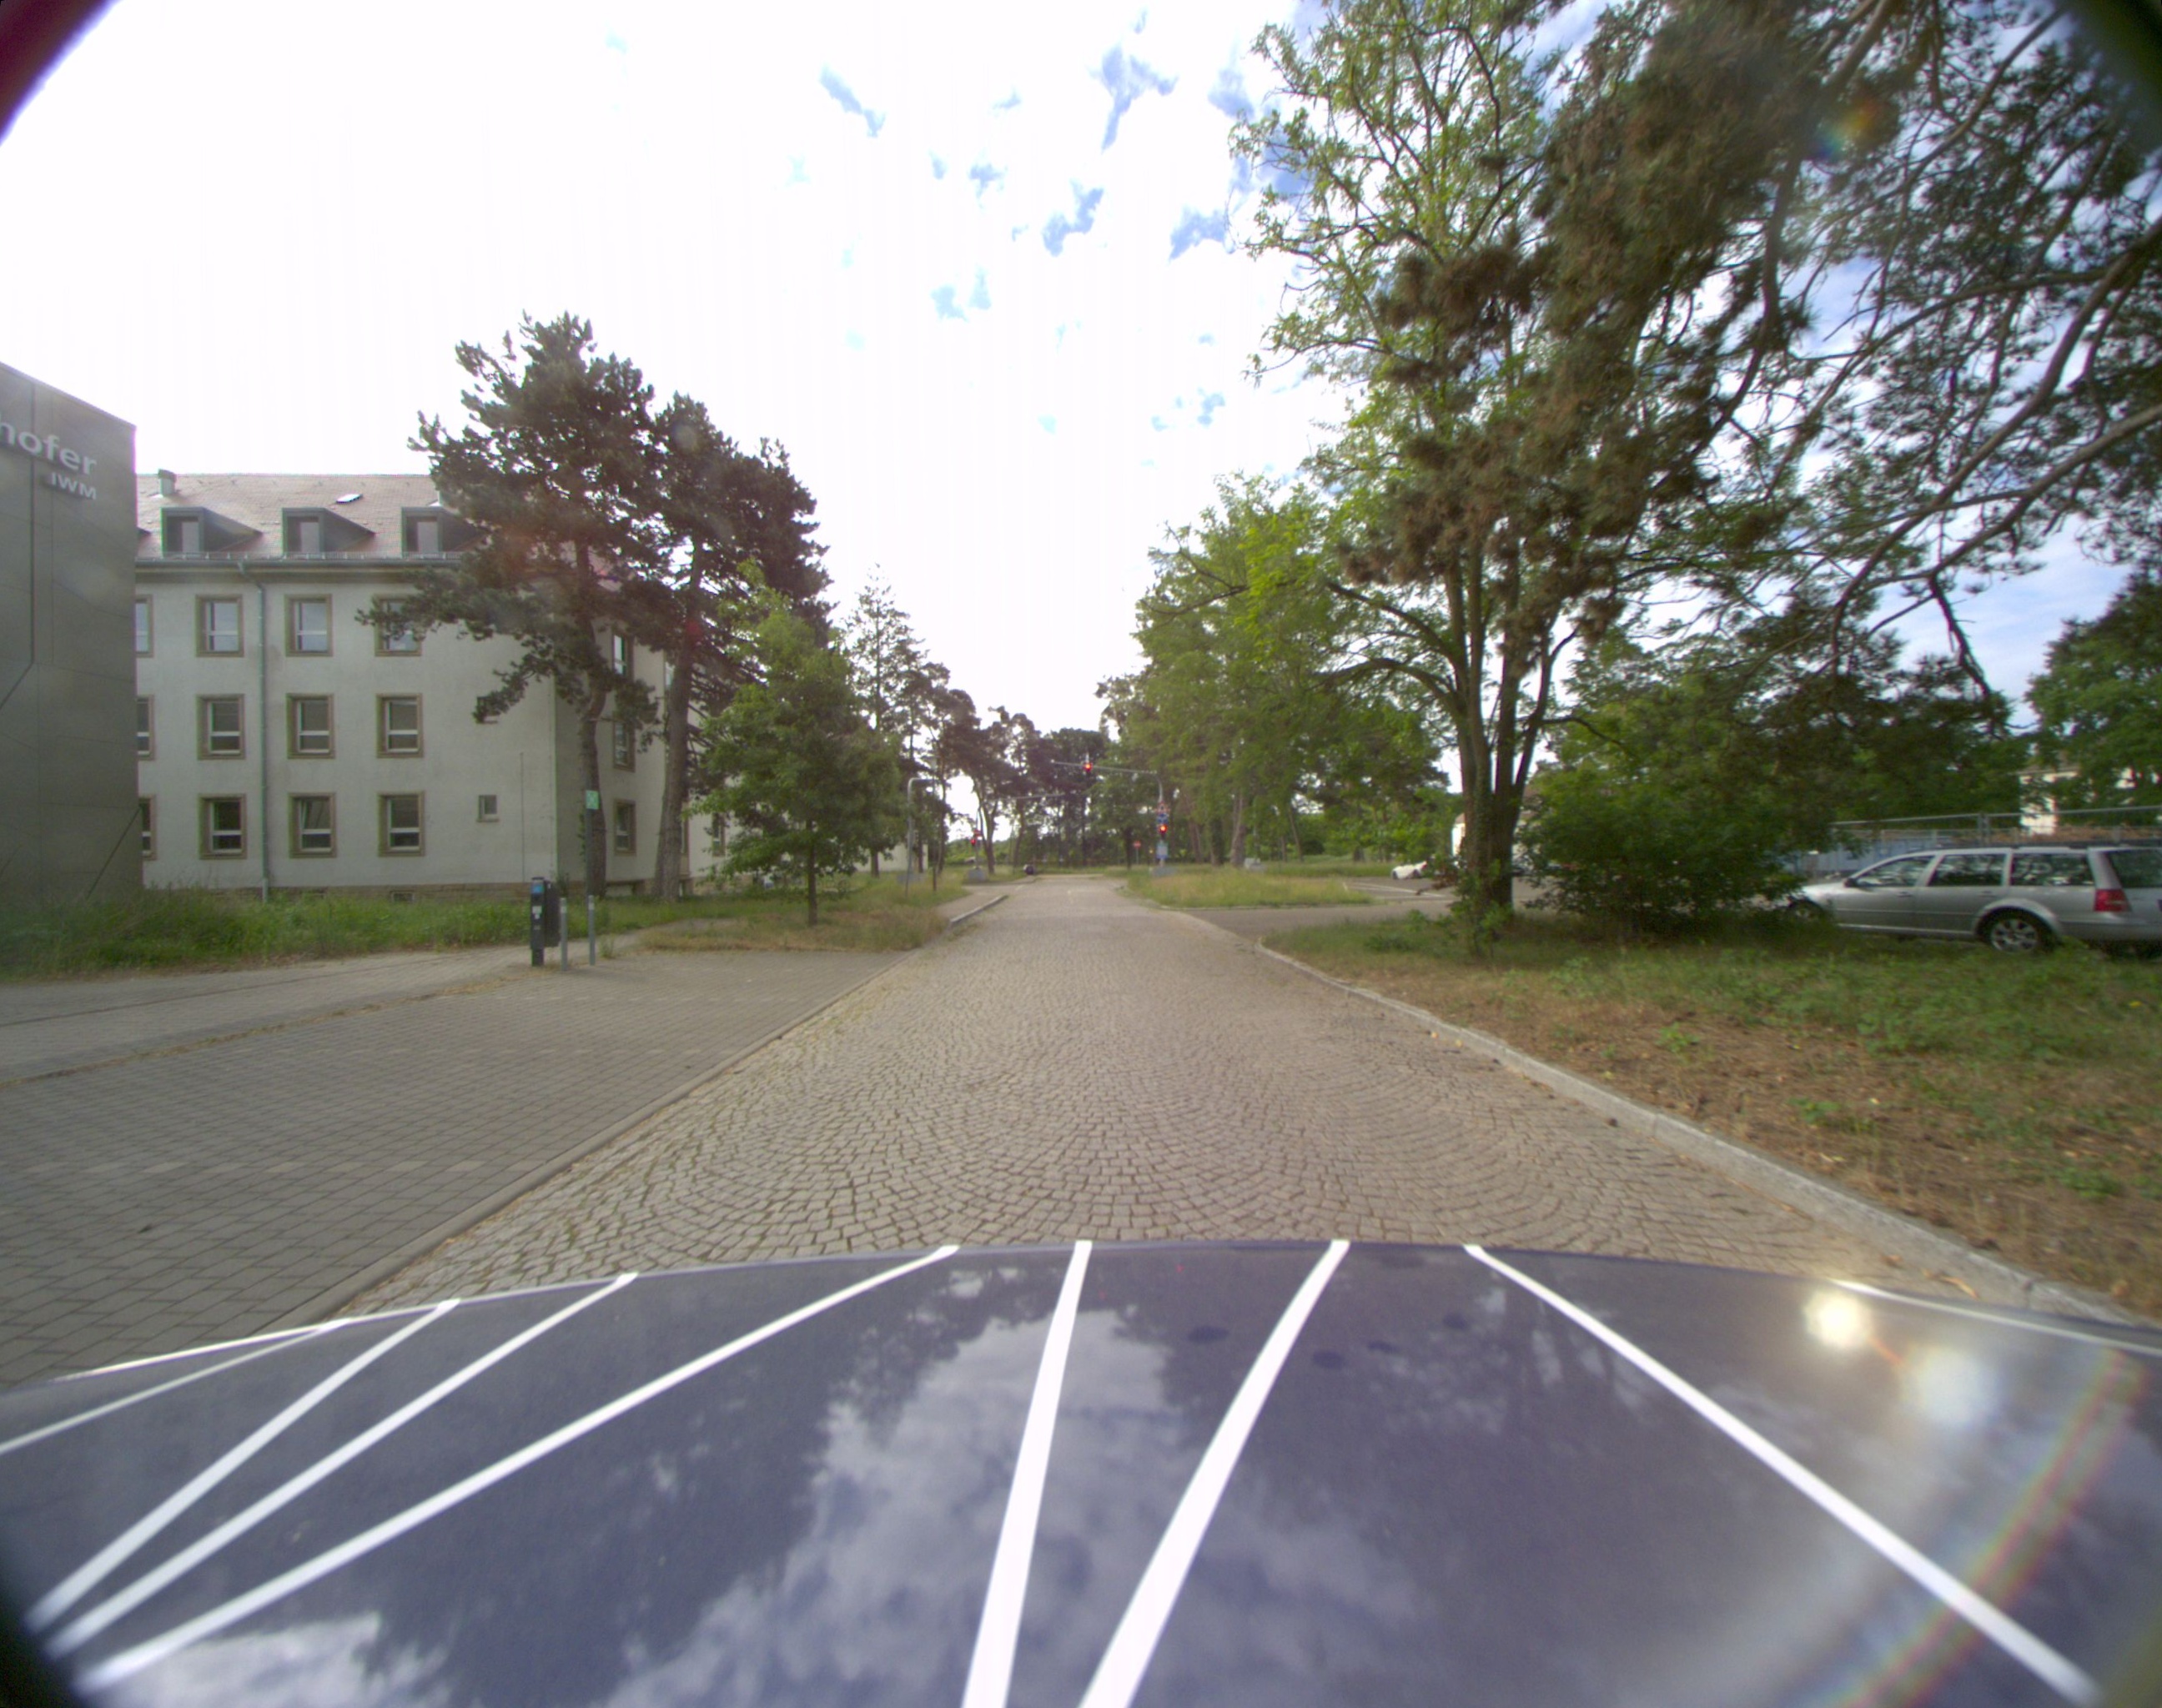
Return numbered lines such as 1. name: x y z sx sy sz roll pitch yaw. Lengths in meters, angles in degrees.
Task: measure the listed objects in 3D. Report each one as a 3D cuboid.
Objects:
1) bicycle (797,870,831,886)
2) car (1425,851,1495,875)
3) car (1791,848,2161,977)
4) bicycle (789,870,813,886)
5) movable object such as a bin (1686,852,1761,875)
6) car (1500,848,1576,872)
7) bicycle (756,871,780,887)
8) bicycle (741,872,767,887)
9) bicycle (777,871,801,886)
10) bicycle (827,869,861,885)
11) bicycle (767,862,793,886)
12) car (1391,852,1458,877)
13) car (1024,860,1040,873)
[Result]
1. bicycle: -18.851 1.707 53.719 2.165 1.051 0.717 -1 0 -4
2. car: 24.140 0.564 48.612 1.999 1.441 4.451 -1 0 -4
3. car: 12.248 0.654 10.281 1.670 1.402 3.723 -1 0 -3
4. bicycle: -20.163 1.735 54.767 0.800 1.050 2.166 -1 0 2
5. movable object such as a bin: 30.847 0.438 36.564 1.057 1.064 2.719 -1 0 -10
6. car: 29.591 0.412 49.346 1.999 1.441 4.451 -1 0 -4
7. bicycle: -22.626 1.797 54.972 0.800 1.050 2.199 -1 0 2
8. bicycle: -23.491 1.825 54.627 0.800 1.050 2.166 -1 0 2
9. bicycle: -21.012 1.755 54.759 0.800 1.050 2.199 -1 0 2
10. bicycle: -16.768 1.632 53.702 2.165 1.088 0.717 -1 0 -4
11. bicycle: -21.787 1.438 55.077 0.905 1.721 2.199 -1 0 2
12. car: 21.642 0.635 48.084 1.999 1.441 4.451 -1 0 -4
13. car: -7.197 1.802 111.219 2.000 1.777 3.998 -1 0 -7
